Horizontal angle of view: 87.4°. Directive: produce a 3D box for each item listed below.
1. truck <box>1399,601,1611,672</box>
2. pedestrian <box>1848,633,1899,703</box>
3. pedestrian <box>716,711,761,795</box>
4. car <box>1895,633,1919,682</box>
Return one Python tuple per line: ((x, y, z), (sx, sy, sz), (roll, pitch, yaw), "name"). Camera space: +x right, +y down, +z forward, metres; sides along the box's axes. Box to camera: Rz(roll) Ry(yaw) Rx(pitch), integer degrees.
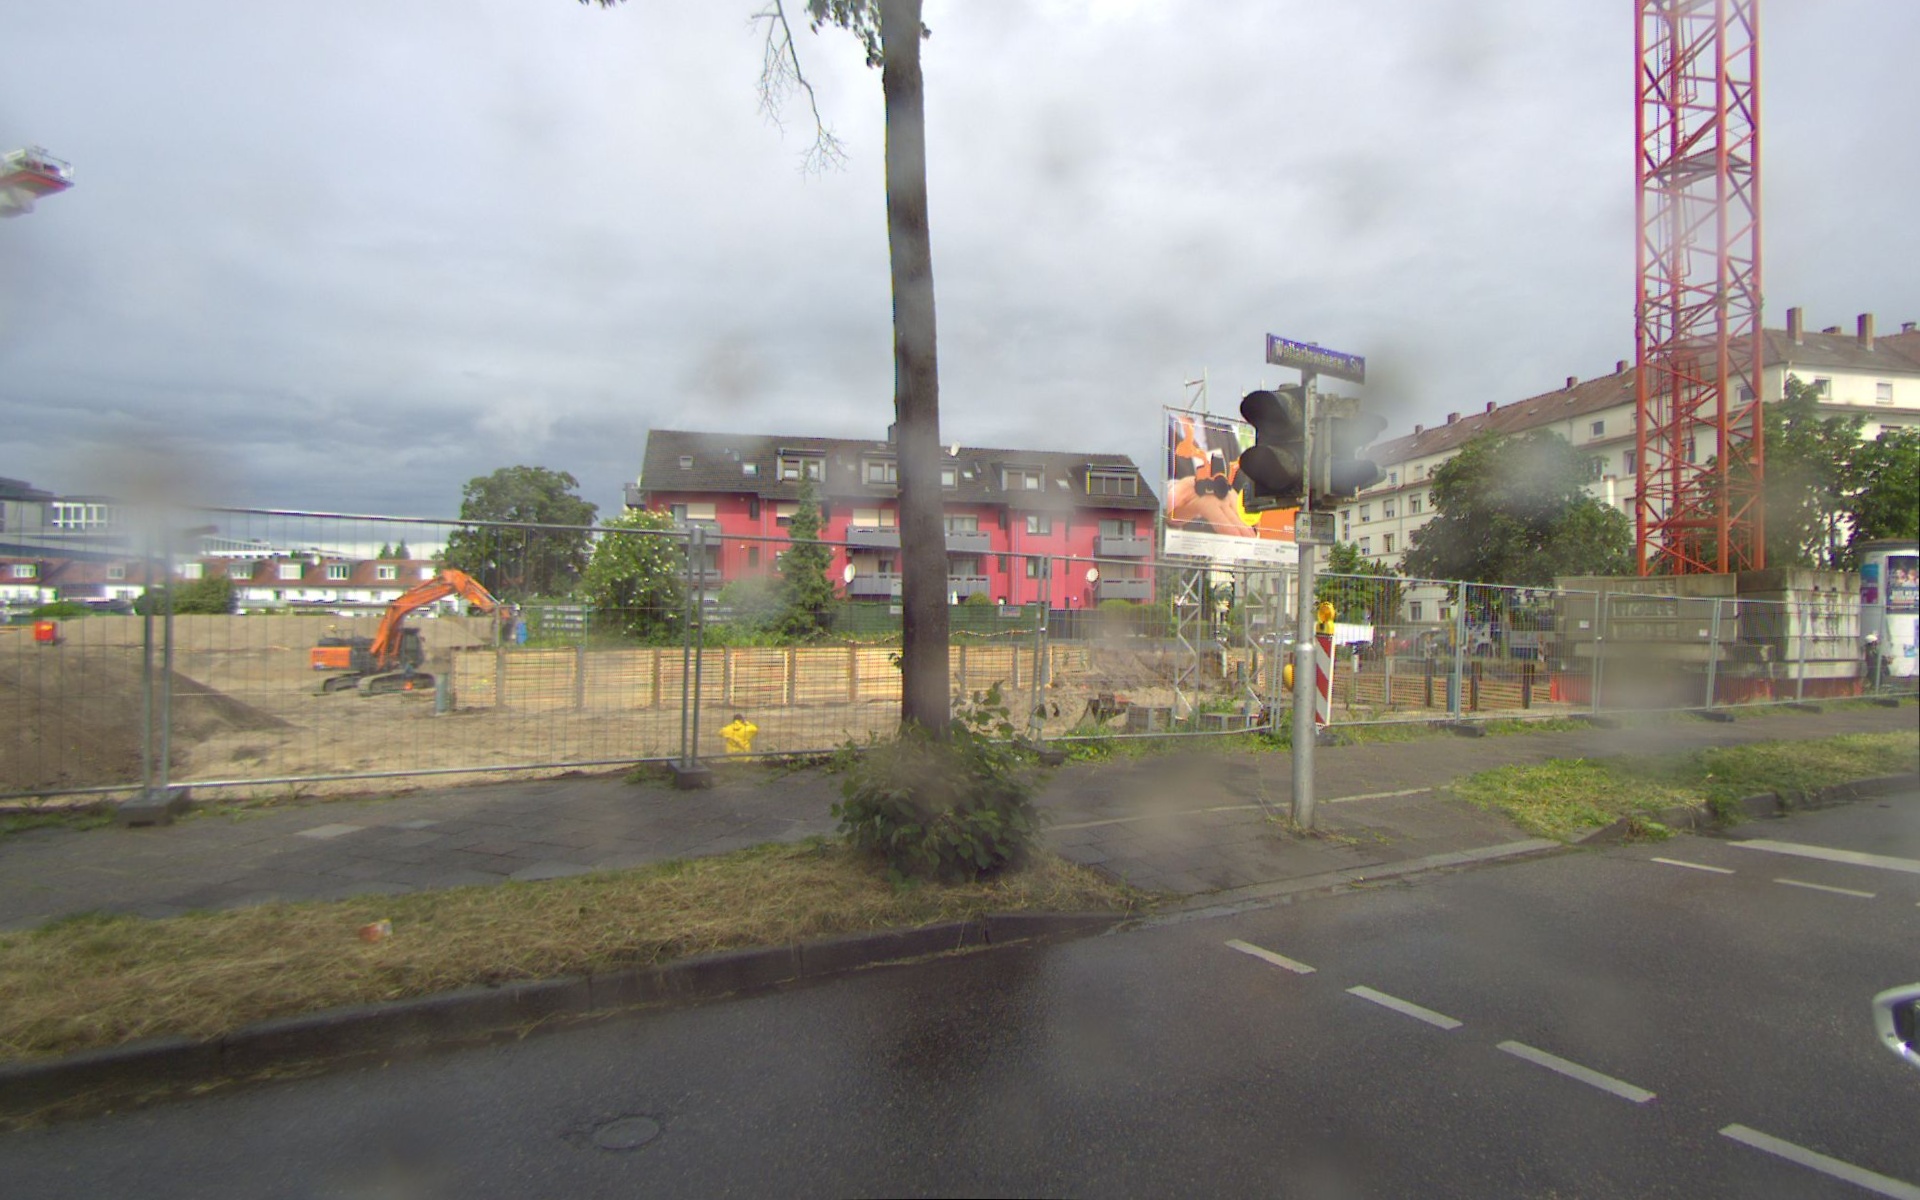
((27.344, 1.885, 51.211), (3.729, 3.226, 9.816), (1, -2, -15), "truck")
((22.539, 1.662, 24.801), (0.710, 1.651, 0.684), (2, 0, 23), "pedestrian")
((-4.780, 3.277, 21.643), (0.837, 1.706, 0.585), (1, -4, -25), "pedestrian")
((33.834, 1.864, 32.840), (1.794, 1.605, 4.428), (-2, -2, -20), "car")
